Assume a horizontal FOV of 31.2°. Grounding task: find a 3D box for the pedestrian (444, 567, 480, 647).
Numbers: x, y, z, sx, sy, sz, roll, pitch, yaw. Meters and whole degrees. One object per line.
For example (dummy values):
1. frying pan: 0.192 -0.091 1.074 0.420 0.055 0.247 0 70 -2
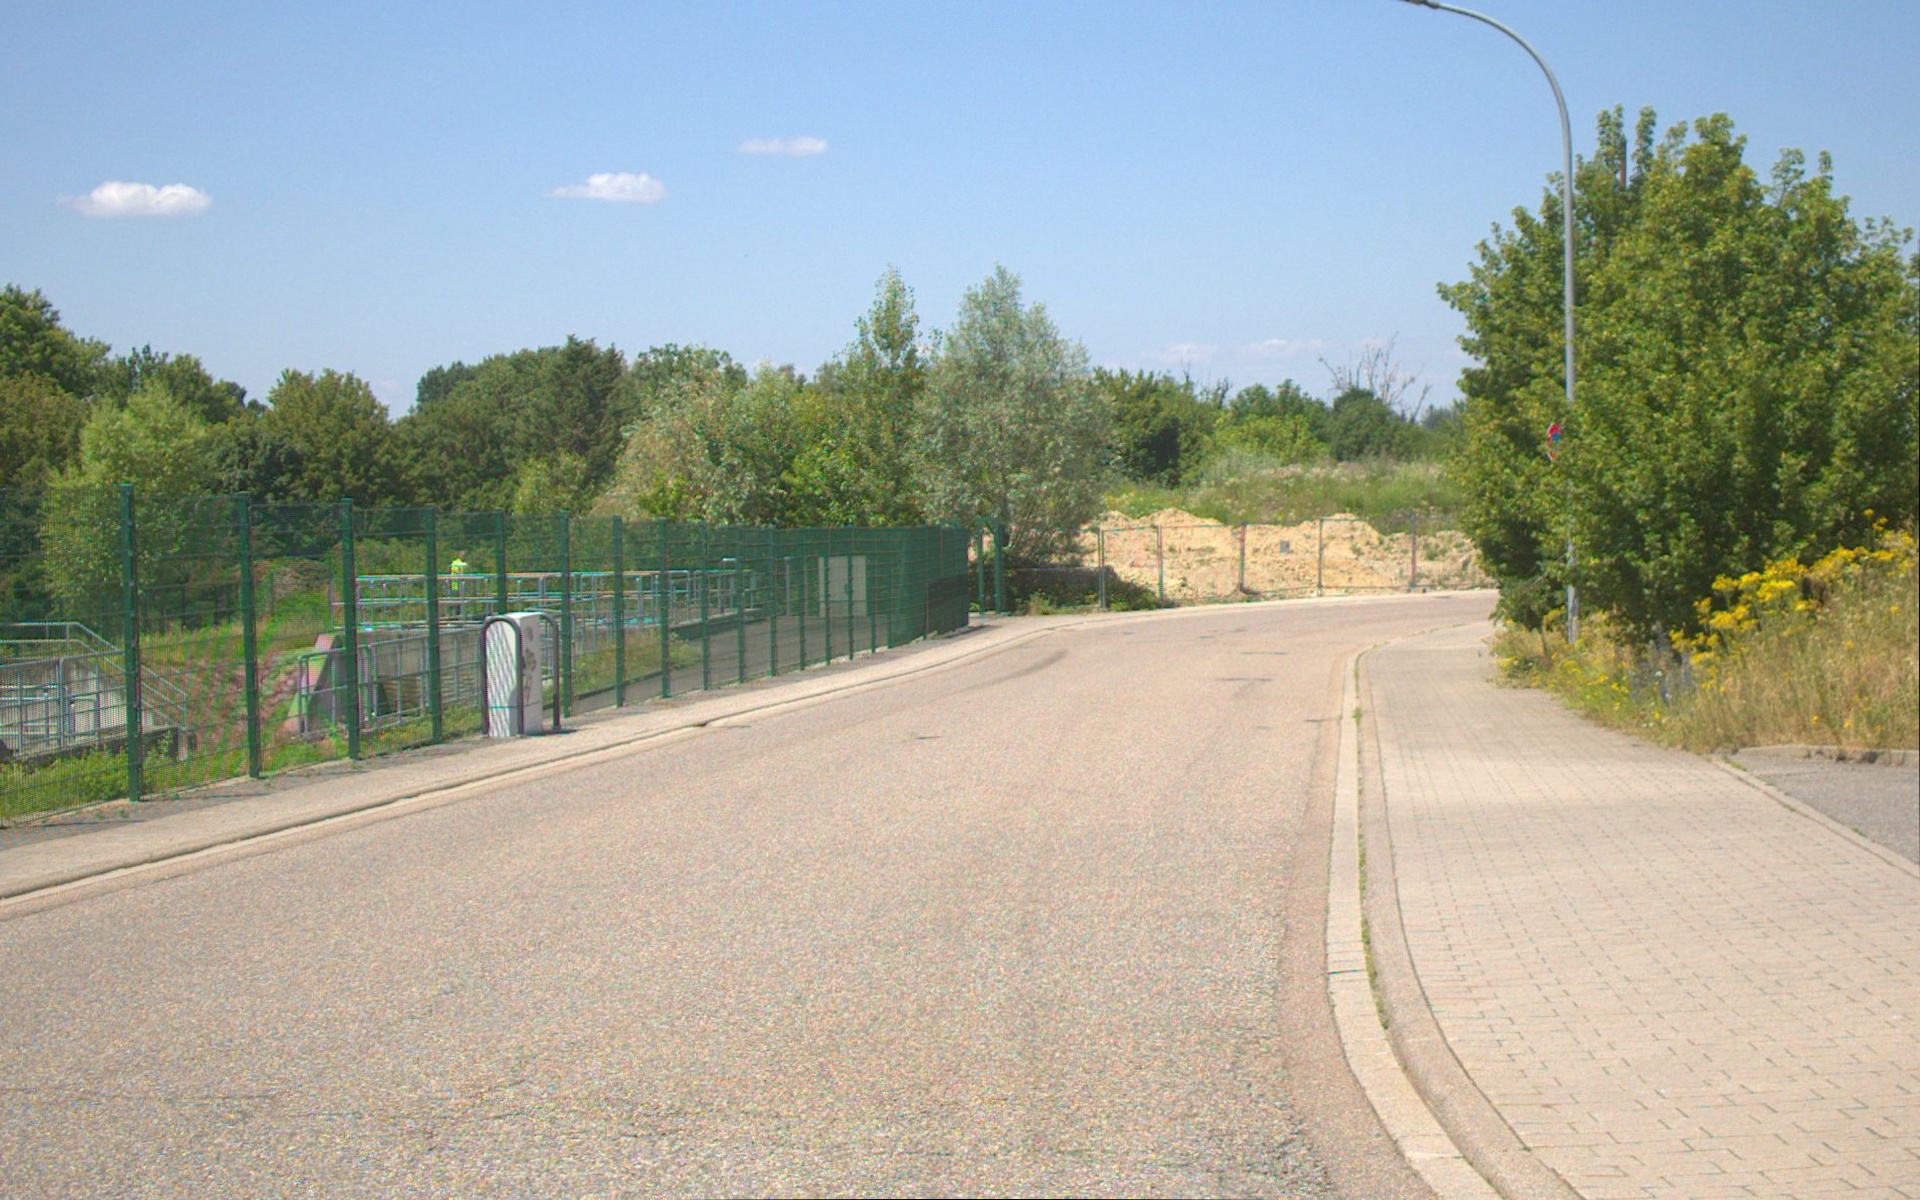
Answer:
1. pedestrian: -11.638 0.159 80.345 0.606 1.833 0.805 -2 0 5
